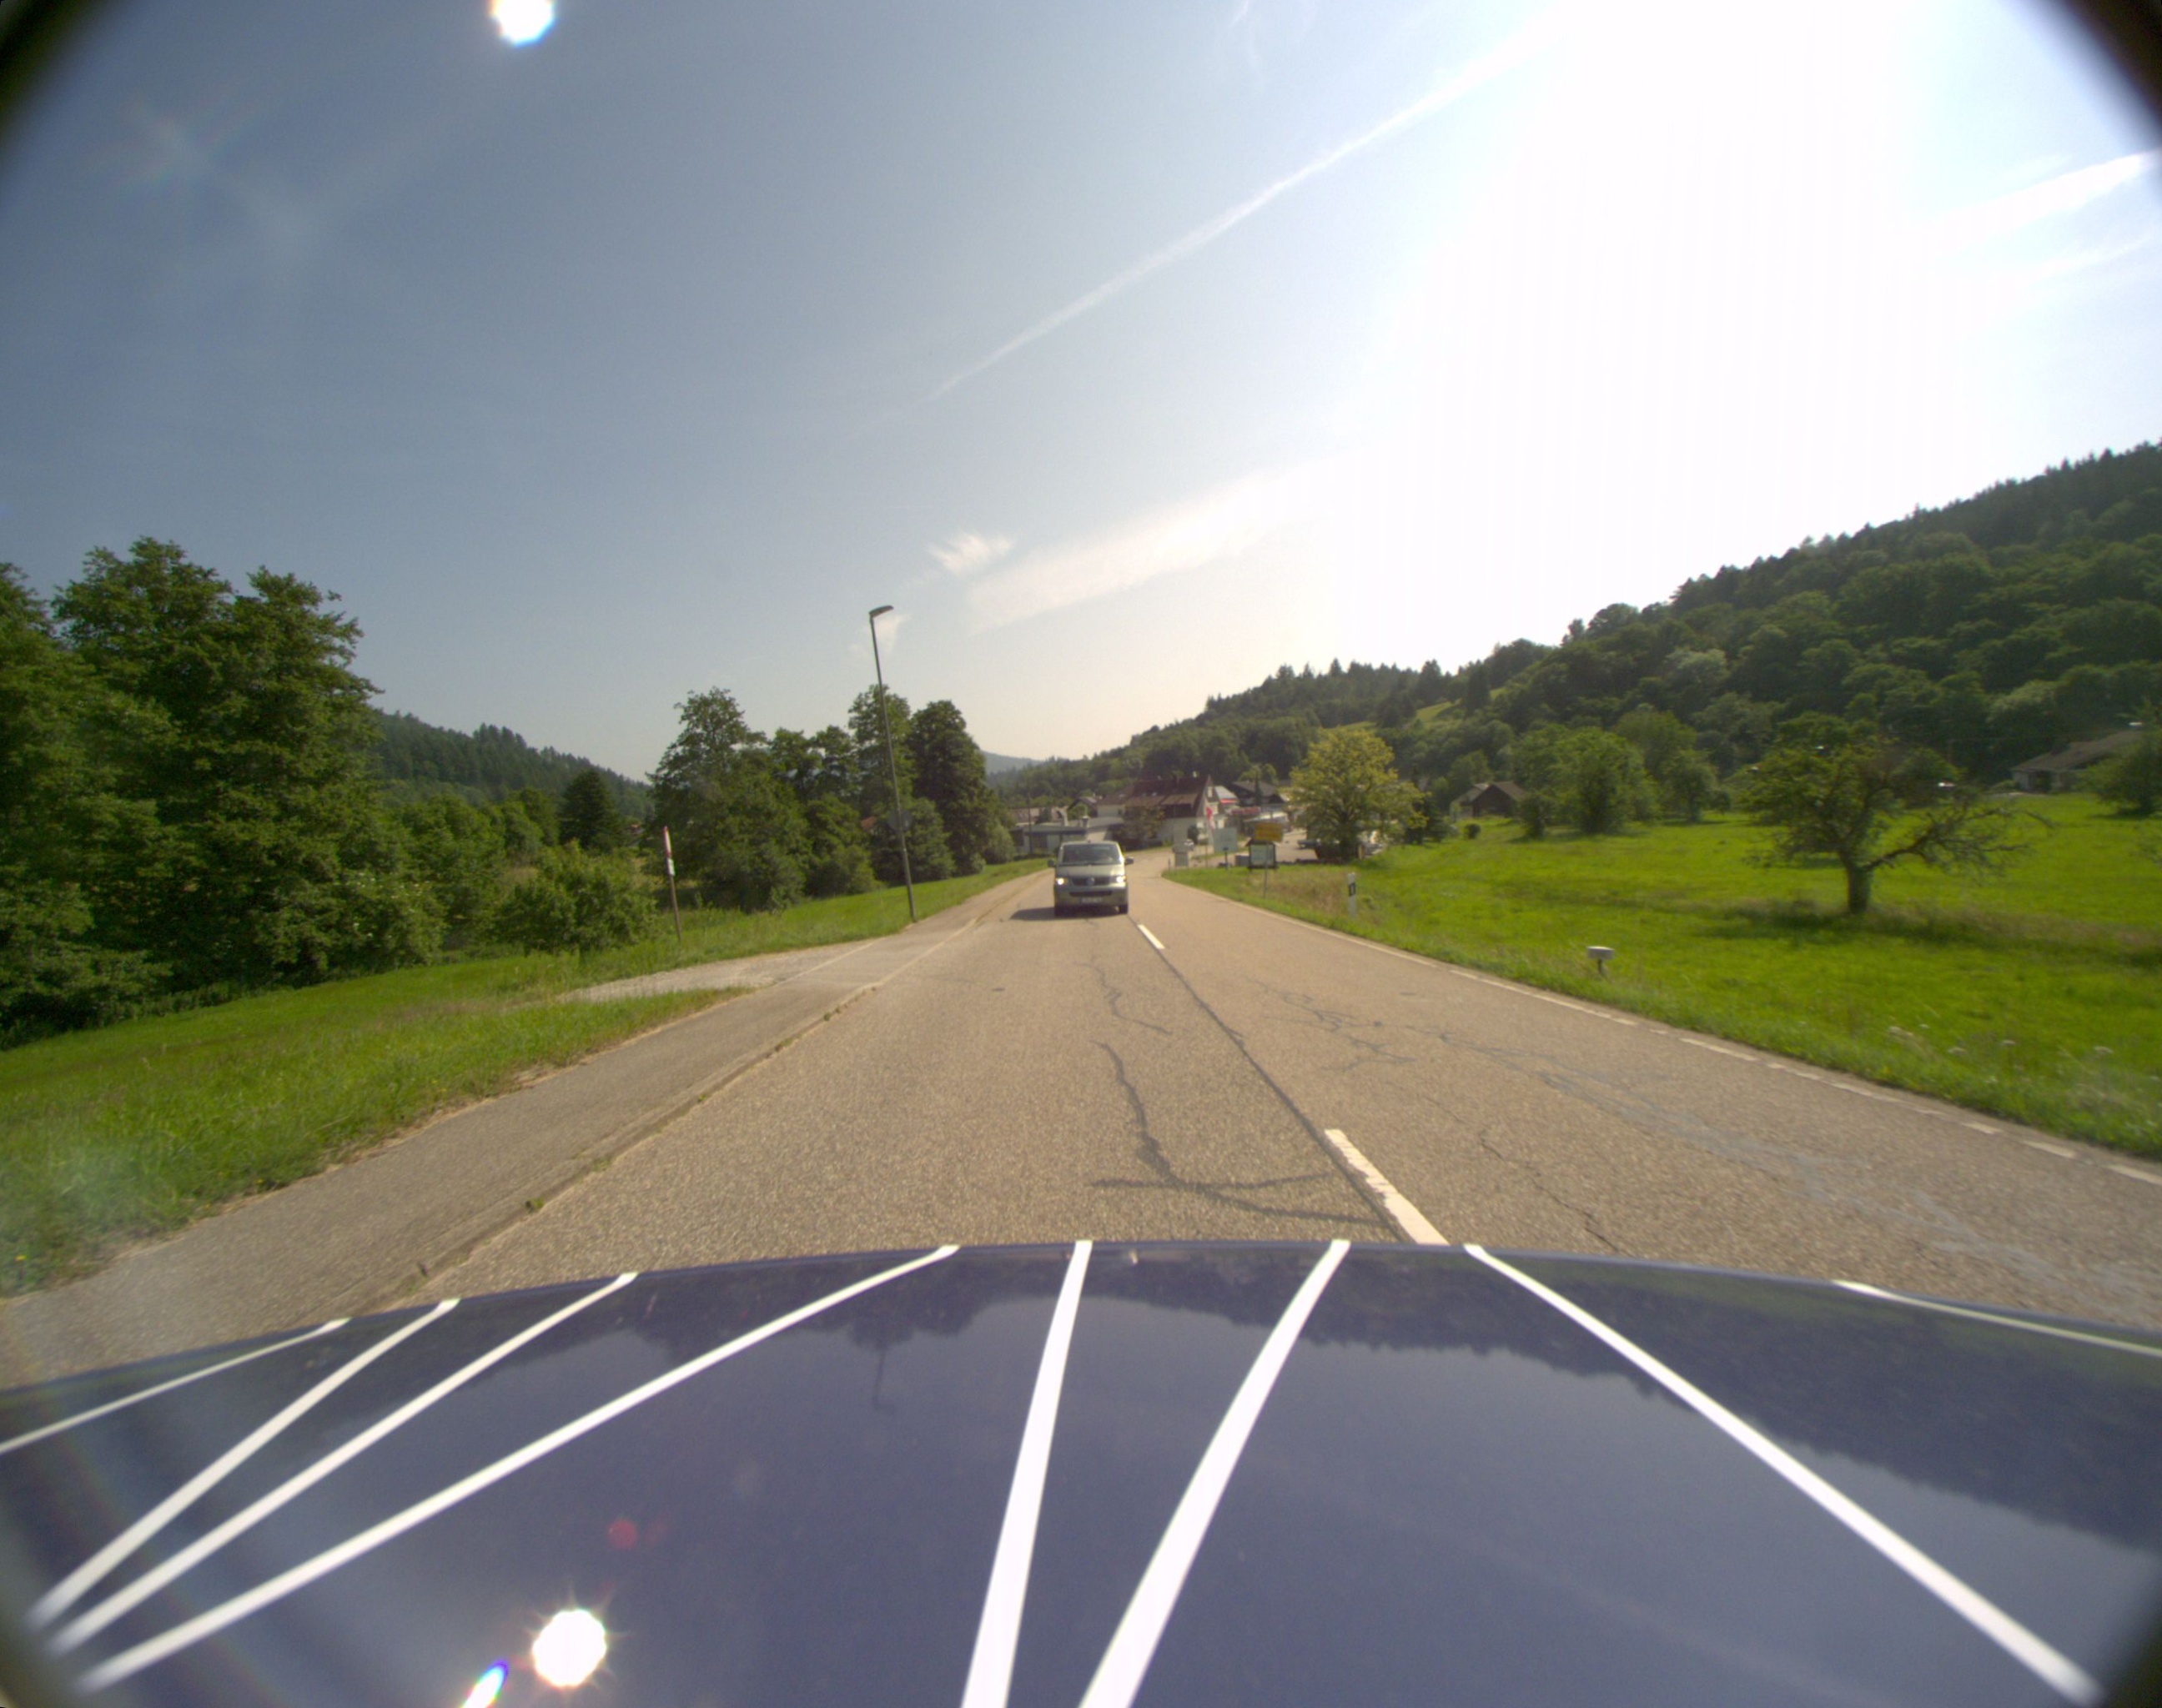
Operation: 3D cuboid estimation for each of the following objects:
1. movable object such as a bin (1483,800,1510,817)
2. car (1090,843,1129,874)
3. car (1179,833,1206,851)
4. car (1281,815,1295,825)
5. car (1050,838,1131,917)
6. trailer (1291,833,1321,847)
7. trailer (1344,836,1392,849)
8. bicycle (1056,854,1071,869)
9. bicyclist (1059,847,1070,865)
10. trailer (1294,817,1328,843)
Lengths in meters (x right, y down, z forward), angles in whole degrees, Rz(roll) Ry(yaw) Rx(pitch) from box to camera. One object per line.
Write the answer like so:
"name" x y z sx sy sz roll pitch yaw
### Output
"movable object such as a bin" 85.323 -9.330 155.982 2.206 3.121 4.181 -6 4 -41
"car" 2.090 0.293 54.689 1.894 1.847 4.705 -2 3 13
"car" 13.624 -1.449 92.717 1.764 1.737 3.985 -2 5 31
"car" 44.159 -7.291 161.822 1.681 1.806 4.005 -3 4 34
"car" 0.167 0.628 22.328 2.024 1.970 5.048 -3 0 -2
"trailer" 25.486 -1.613 85.838 1.995 1.220 5.553 -3 3 30
"trailer" 26.824 -1.077 71.054 3.935 0.934 1.870 -3 4 32
"bicycle" -1.289 0.540 57.822 0.580 1.029 1.992 1 4 15
"bicyclist" -1.251 0.127 57.953 0.580 1.335 1.146 1 4 15
"trailer" 27.501 -2.847 90.783 3.394 2.896 1.886 -3 3 27
